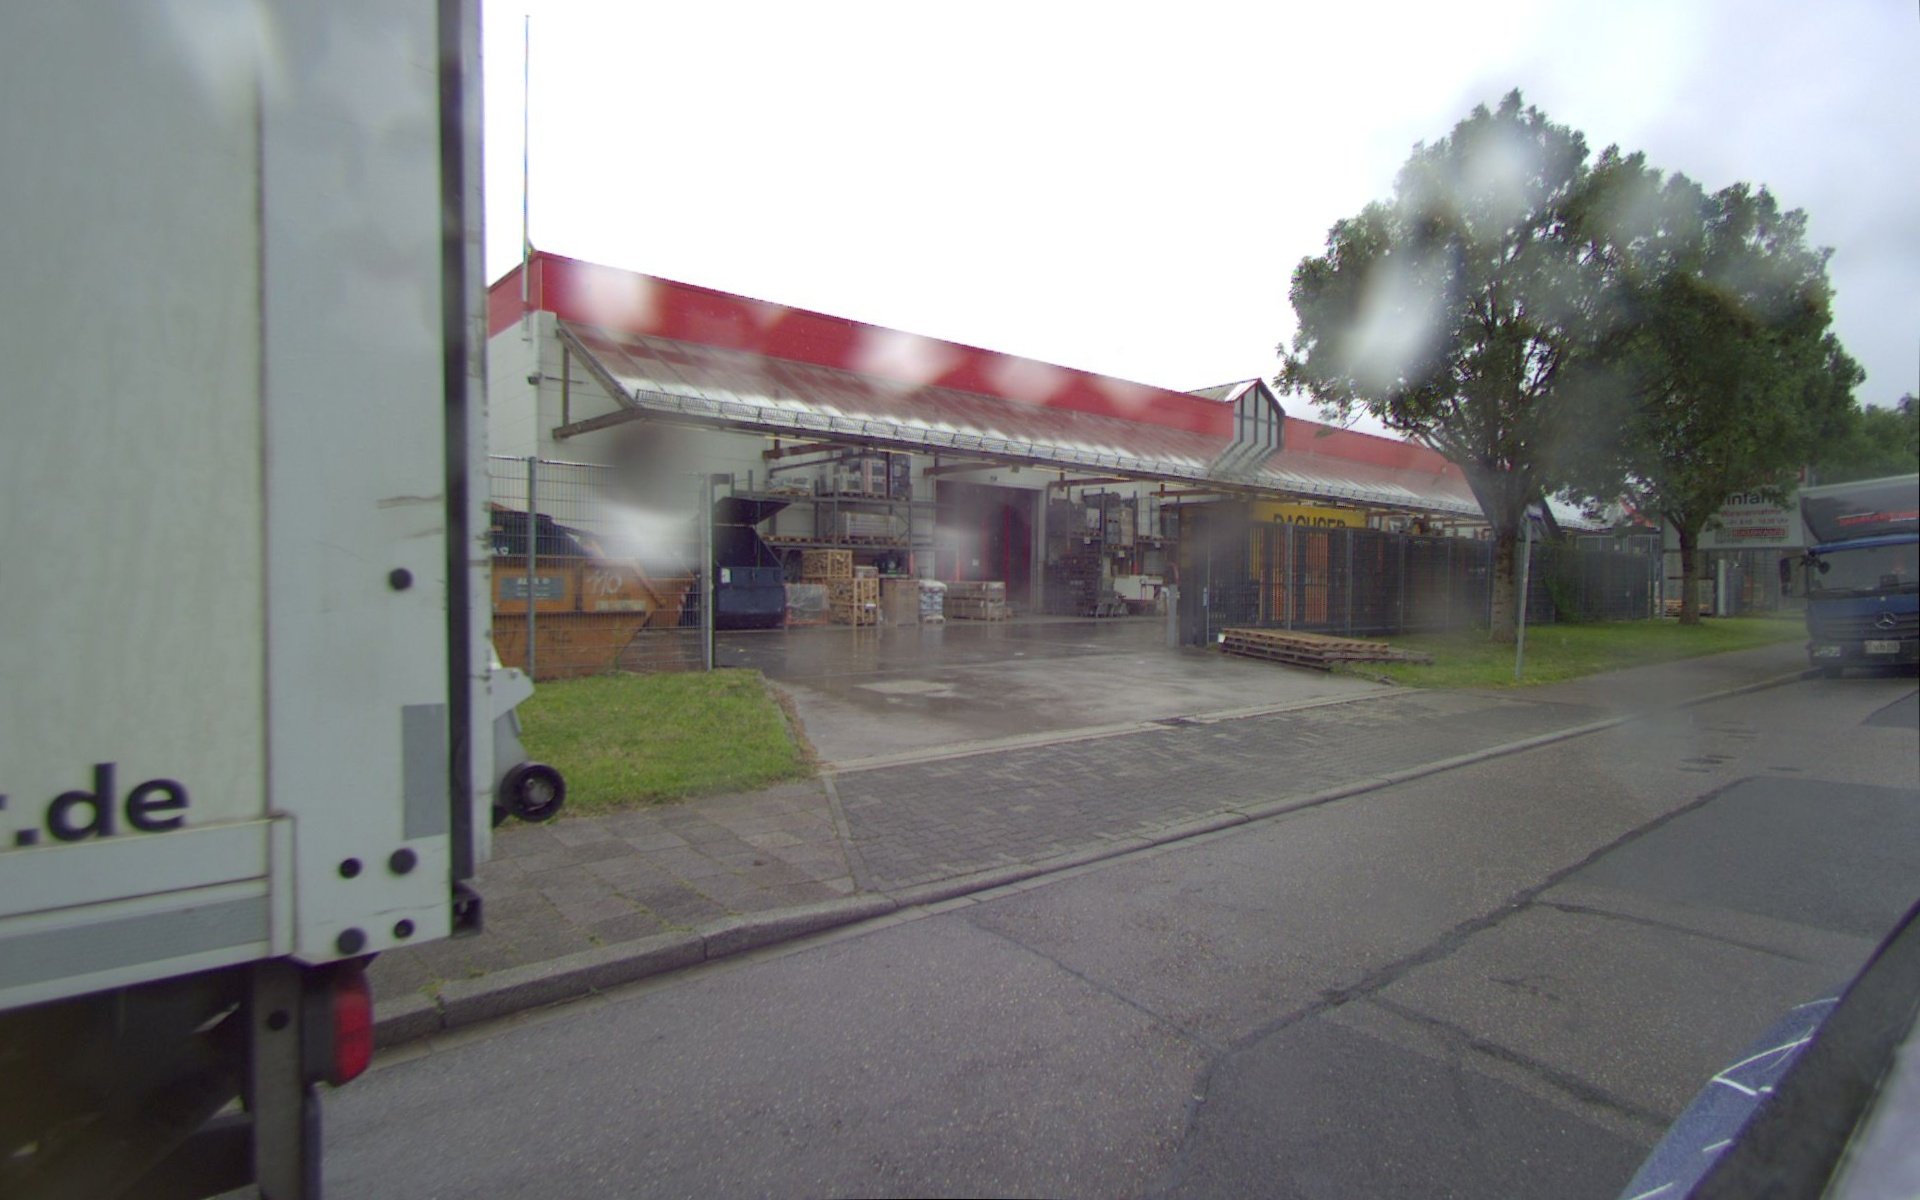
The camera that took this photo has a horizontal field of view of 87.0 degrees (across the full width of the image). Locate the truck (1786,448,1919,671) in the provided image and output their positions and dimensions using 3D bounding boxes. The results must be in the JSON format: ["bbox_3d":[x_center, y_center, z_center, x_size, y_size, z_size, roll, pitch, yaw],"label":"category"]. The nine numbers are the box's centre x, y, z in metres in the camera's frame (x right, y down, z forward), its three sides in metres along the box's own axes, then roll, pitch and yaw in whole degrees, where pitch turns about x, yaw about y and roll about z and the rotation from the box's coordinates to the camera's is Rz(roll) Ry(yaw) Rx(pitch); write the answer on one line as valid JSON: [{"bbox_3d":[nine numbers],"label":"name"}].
[{"bbox_3d":[18.903,-0.716,19.878,7.868,3.739,2.676,-1,-1,-41],"label":"truck"}]

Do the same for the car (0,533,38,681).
[{"bbox_3d":[-13.136,0.086,11.338,4.071,1.727,1.997,-1,2,-41],"label":"car"}]

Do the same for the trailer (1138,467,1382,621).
[{"bbox_3d":[9.855,-1.662,32.501,9.306,4.295,2.972,-1,1,-41],"label":"trailer"}]
